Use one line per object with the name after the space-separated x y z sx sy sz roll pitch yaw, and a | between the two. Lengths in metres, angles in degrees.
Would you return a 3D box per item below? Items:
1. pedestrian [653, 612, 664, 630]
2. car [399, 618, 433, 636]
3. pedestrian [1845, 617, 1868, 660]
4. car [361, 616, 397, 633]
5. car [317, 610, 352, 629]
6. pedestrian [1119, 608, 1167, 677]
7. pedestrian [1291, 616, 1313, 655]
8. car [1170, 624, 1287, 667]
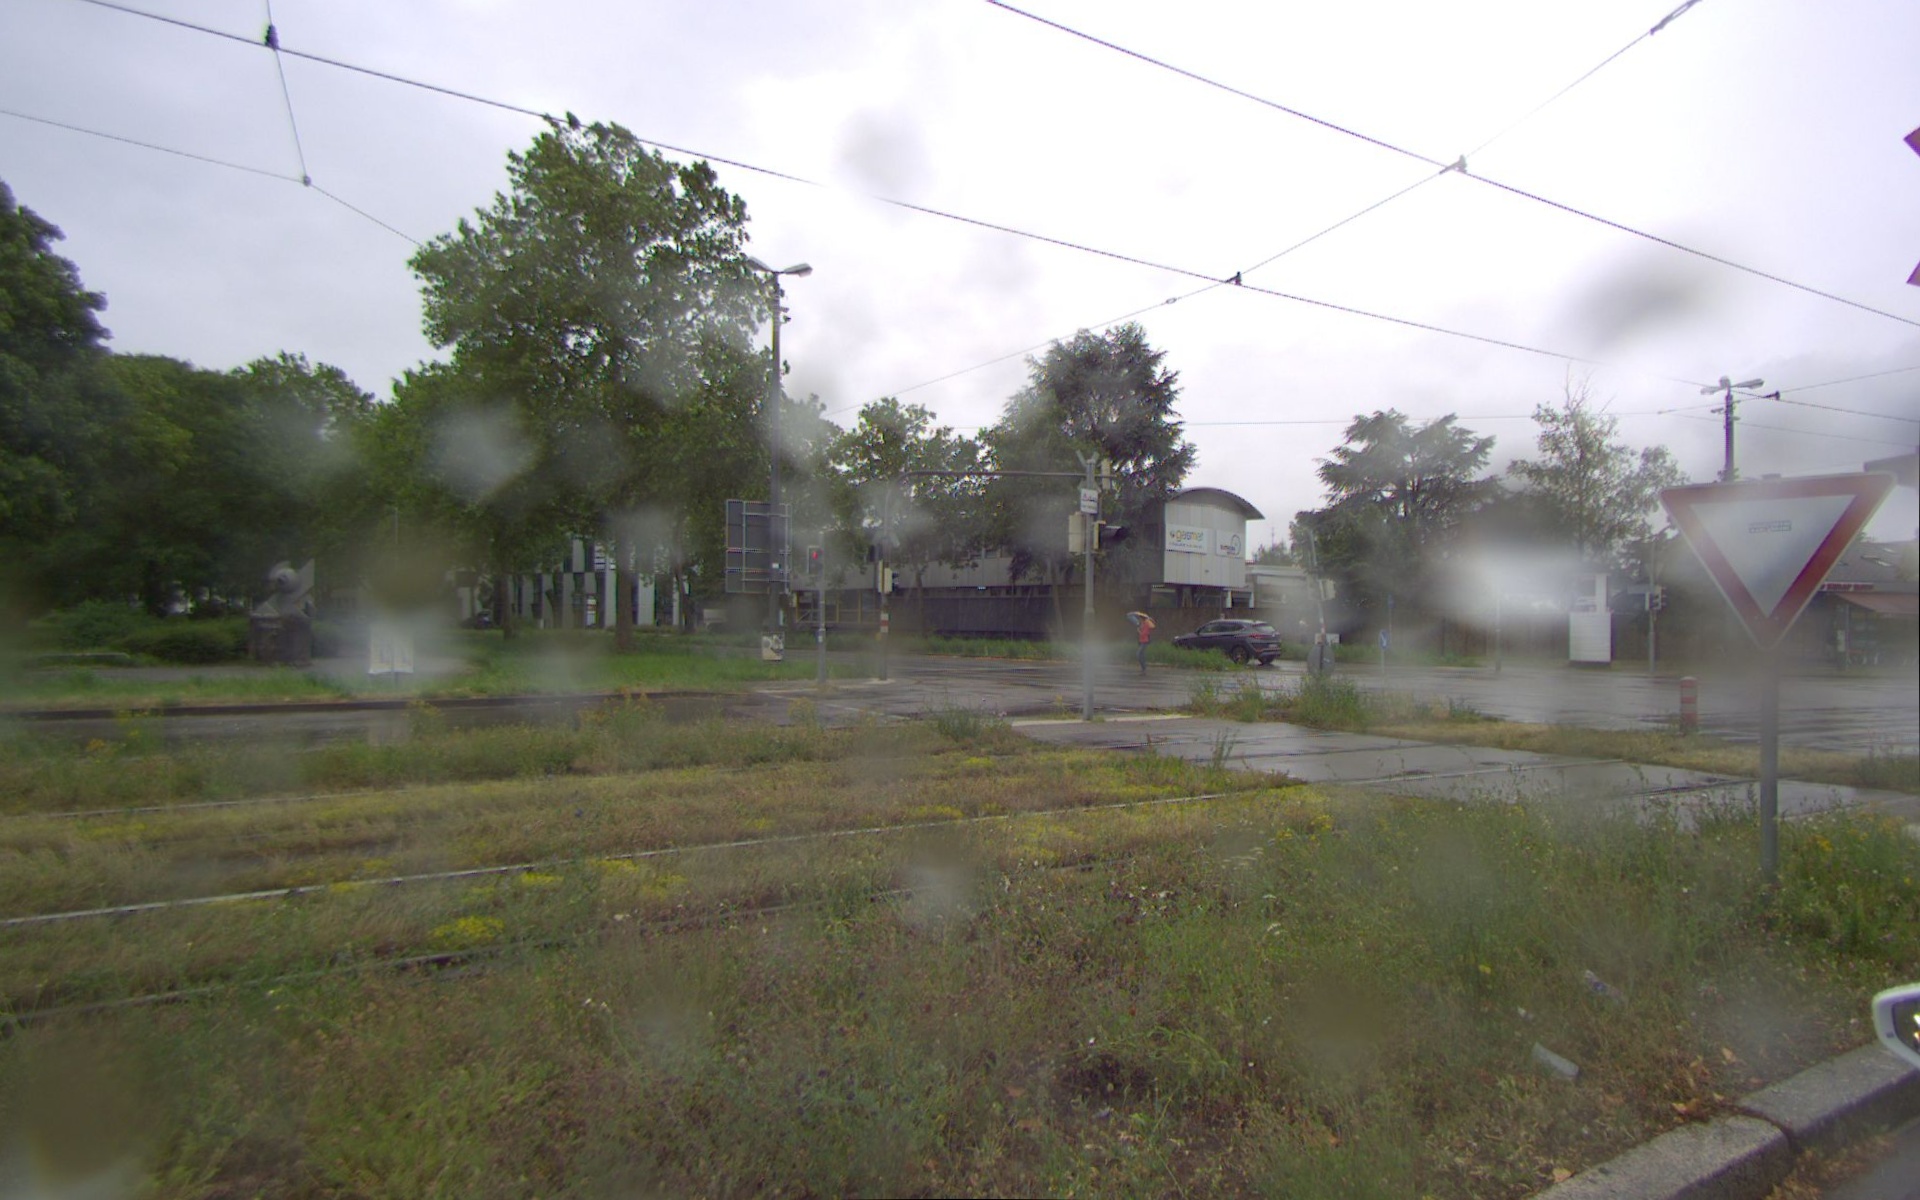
-27.478 1.914 91.538 0.813 1.690 0.669 2 0 42 | pedestrian
-59.760 2.991 110.260 3.940 1.806 1.990 2 0 41 | car
43.556 1.853 48.795 0.714 2.040 0.791 2 0 38 | pedestrian
-65.879 2.763 113.883 3.934 1.806 1.993 2 0 36 | car
-75.238 2.368 120.864 3.932 2.116 2.123 2 0 33 | car
5.513 1.268 30.304 0.998 2.017 0.945 2 0 -34 | pedestrian
16.676 1.733 48.954 0.870 1.821 0.726 2 1 26 | pedestrian
10.153 1.680 38.199 1.679 1.417 4.087 2 0 -39 | car
